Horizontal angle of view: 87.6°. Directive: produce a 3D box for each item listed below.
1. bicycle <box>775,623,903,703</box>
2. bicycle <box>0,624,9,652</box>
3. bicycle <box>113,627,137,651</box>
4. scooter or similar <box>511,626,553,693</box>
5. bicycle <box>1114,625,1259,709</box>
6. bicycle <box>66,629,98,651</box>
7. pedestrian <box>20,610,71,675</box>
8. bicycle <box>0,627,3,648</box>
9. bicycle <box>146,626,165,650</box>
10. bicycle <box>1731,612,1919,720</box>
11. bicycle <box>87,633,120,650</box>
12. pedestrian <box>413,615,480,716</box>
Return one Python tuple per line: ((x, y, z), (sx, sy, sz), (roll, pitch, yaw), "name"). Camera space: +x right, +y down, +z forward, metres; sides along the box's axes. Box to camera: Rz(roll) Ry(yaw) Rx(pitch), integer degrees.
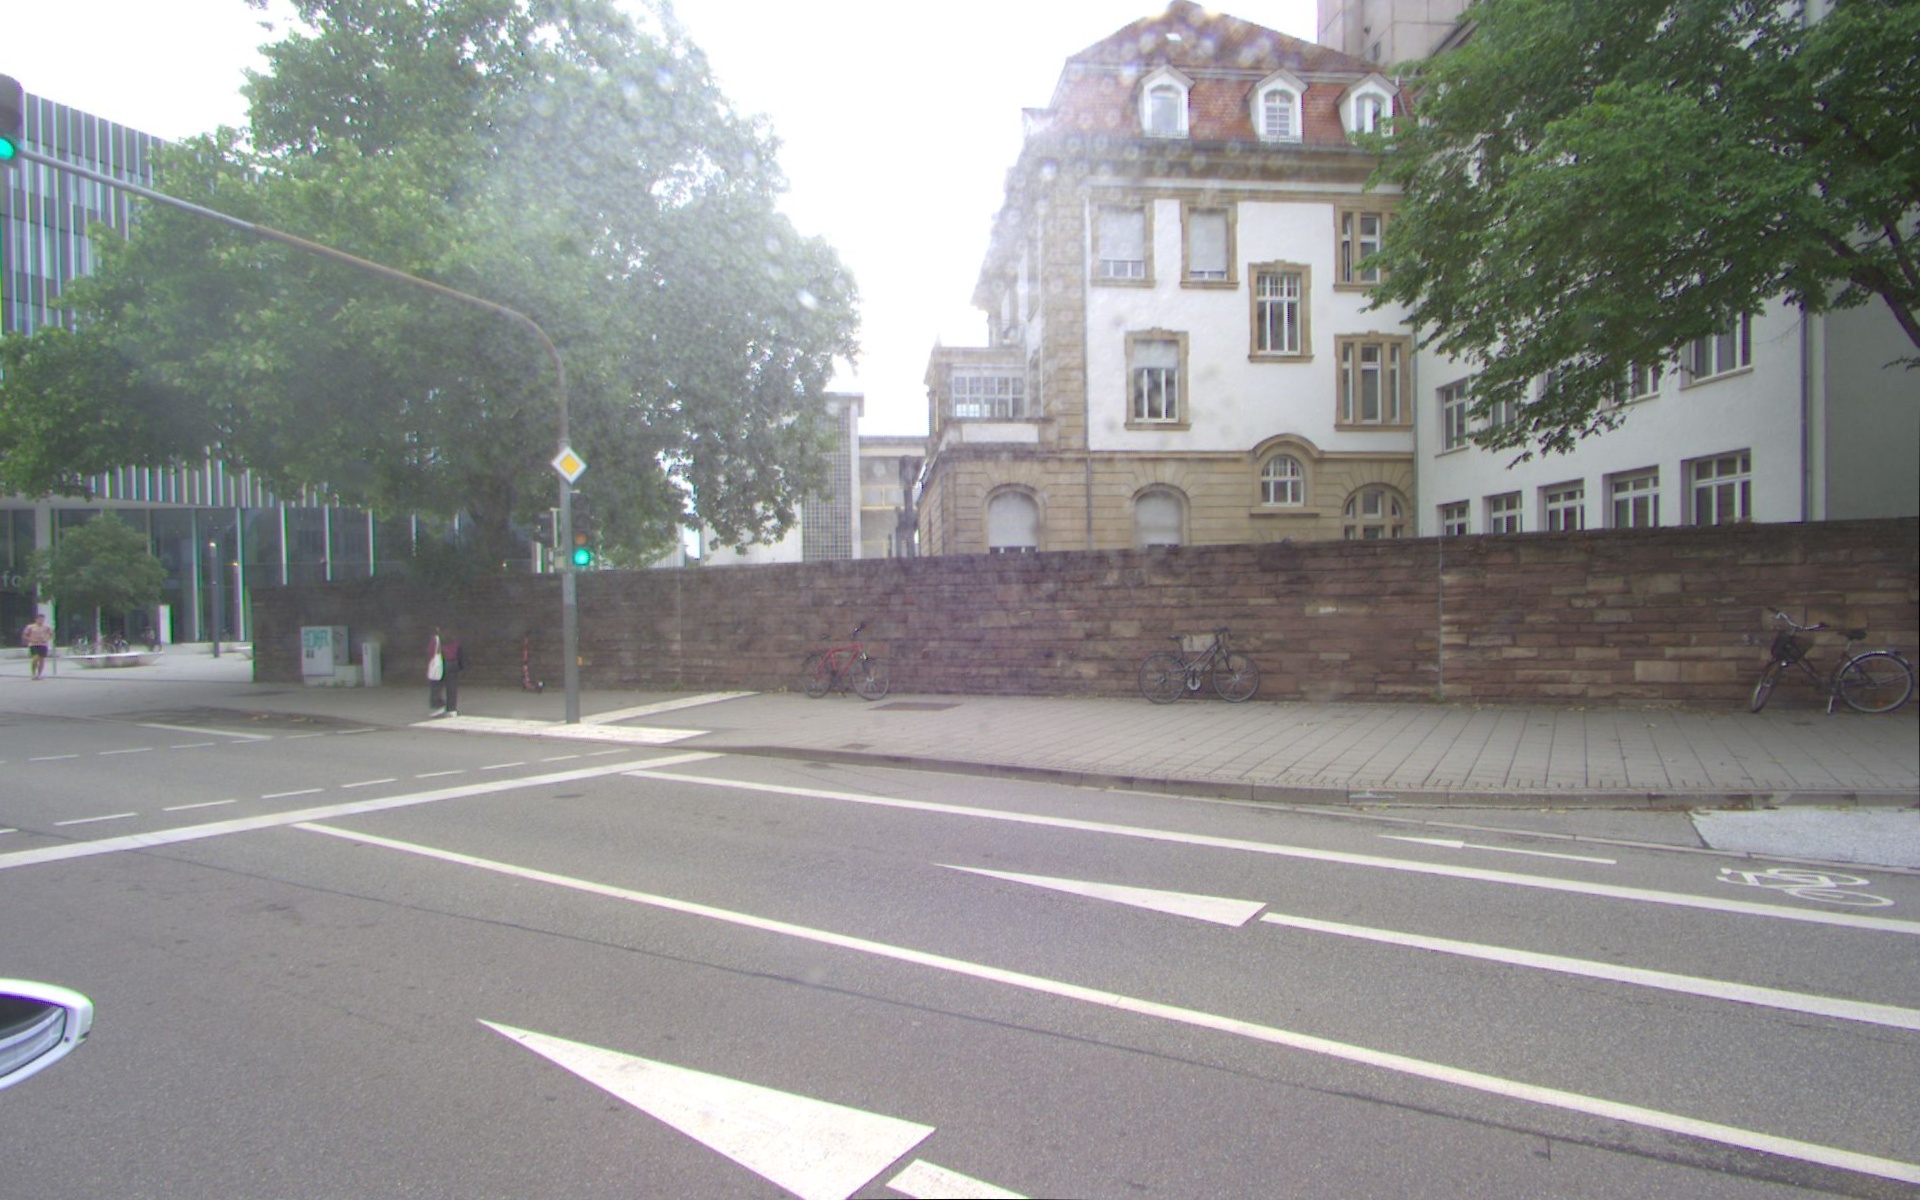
((-1.967, 0.988, 16.294), (1.923, 1.190, 0.802), (-1, 3, 27), "bicycle")
((-46.270, 1.827, 48.197), (0.522, 1.270, 1.652), (-3, 2, -39), "bicycle")
((-40.474, 1.867, 48.553), (0.802, 1.070, 1.933), (-2, 2, -38), "bicycle")
((-8.357, 1.138, 19.539), (0.427, 1.195, 1.693), (-3, 2, -33), "scooter or similar")
((3.228, 0.931, 14.202), (1.934, 1.088, 0.941), (-1, 2, 17), "bicycle")
((-42.505, 1.935, 48.495), (0.686, 0.959, 1.975), (-2, 1, -27), "bicycle")
((-26.159, 1.206, 28.644), (0.756, 1.789, 0.845), (0, 2, 32), "pedestrian")
((-48.432, 1.908, 49.930), (0.613, 1.060, 1.696), (-2, 2, -31), "bicycle")
((-39.223, 1.828, 48.833), (0.616, 1.070, 1.933), (-2, 2, -38), "bicycle")
((10.189, 0.743, 11.527), (1.889, 1.143, 0.849), (-1, 2, 17), "bicycle")
((-41.611, 2.029, 48.674), (0.510, 0.726, 1.525), (-1, 1, -11), "bicycle")
((-8.445, 1.058, 16.475), (0.627, 1.584, 0.658), (0, 5, 32), "pedestrian")
